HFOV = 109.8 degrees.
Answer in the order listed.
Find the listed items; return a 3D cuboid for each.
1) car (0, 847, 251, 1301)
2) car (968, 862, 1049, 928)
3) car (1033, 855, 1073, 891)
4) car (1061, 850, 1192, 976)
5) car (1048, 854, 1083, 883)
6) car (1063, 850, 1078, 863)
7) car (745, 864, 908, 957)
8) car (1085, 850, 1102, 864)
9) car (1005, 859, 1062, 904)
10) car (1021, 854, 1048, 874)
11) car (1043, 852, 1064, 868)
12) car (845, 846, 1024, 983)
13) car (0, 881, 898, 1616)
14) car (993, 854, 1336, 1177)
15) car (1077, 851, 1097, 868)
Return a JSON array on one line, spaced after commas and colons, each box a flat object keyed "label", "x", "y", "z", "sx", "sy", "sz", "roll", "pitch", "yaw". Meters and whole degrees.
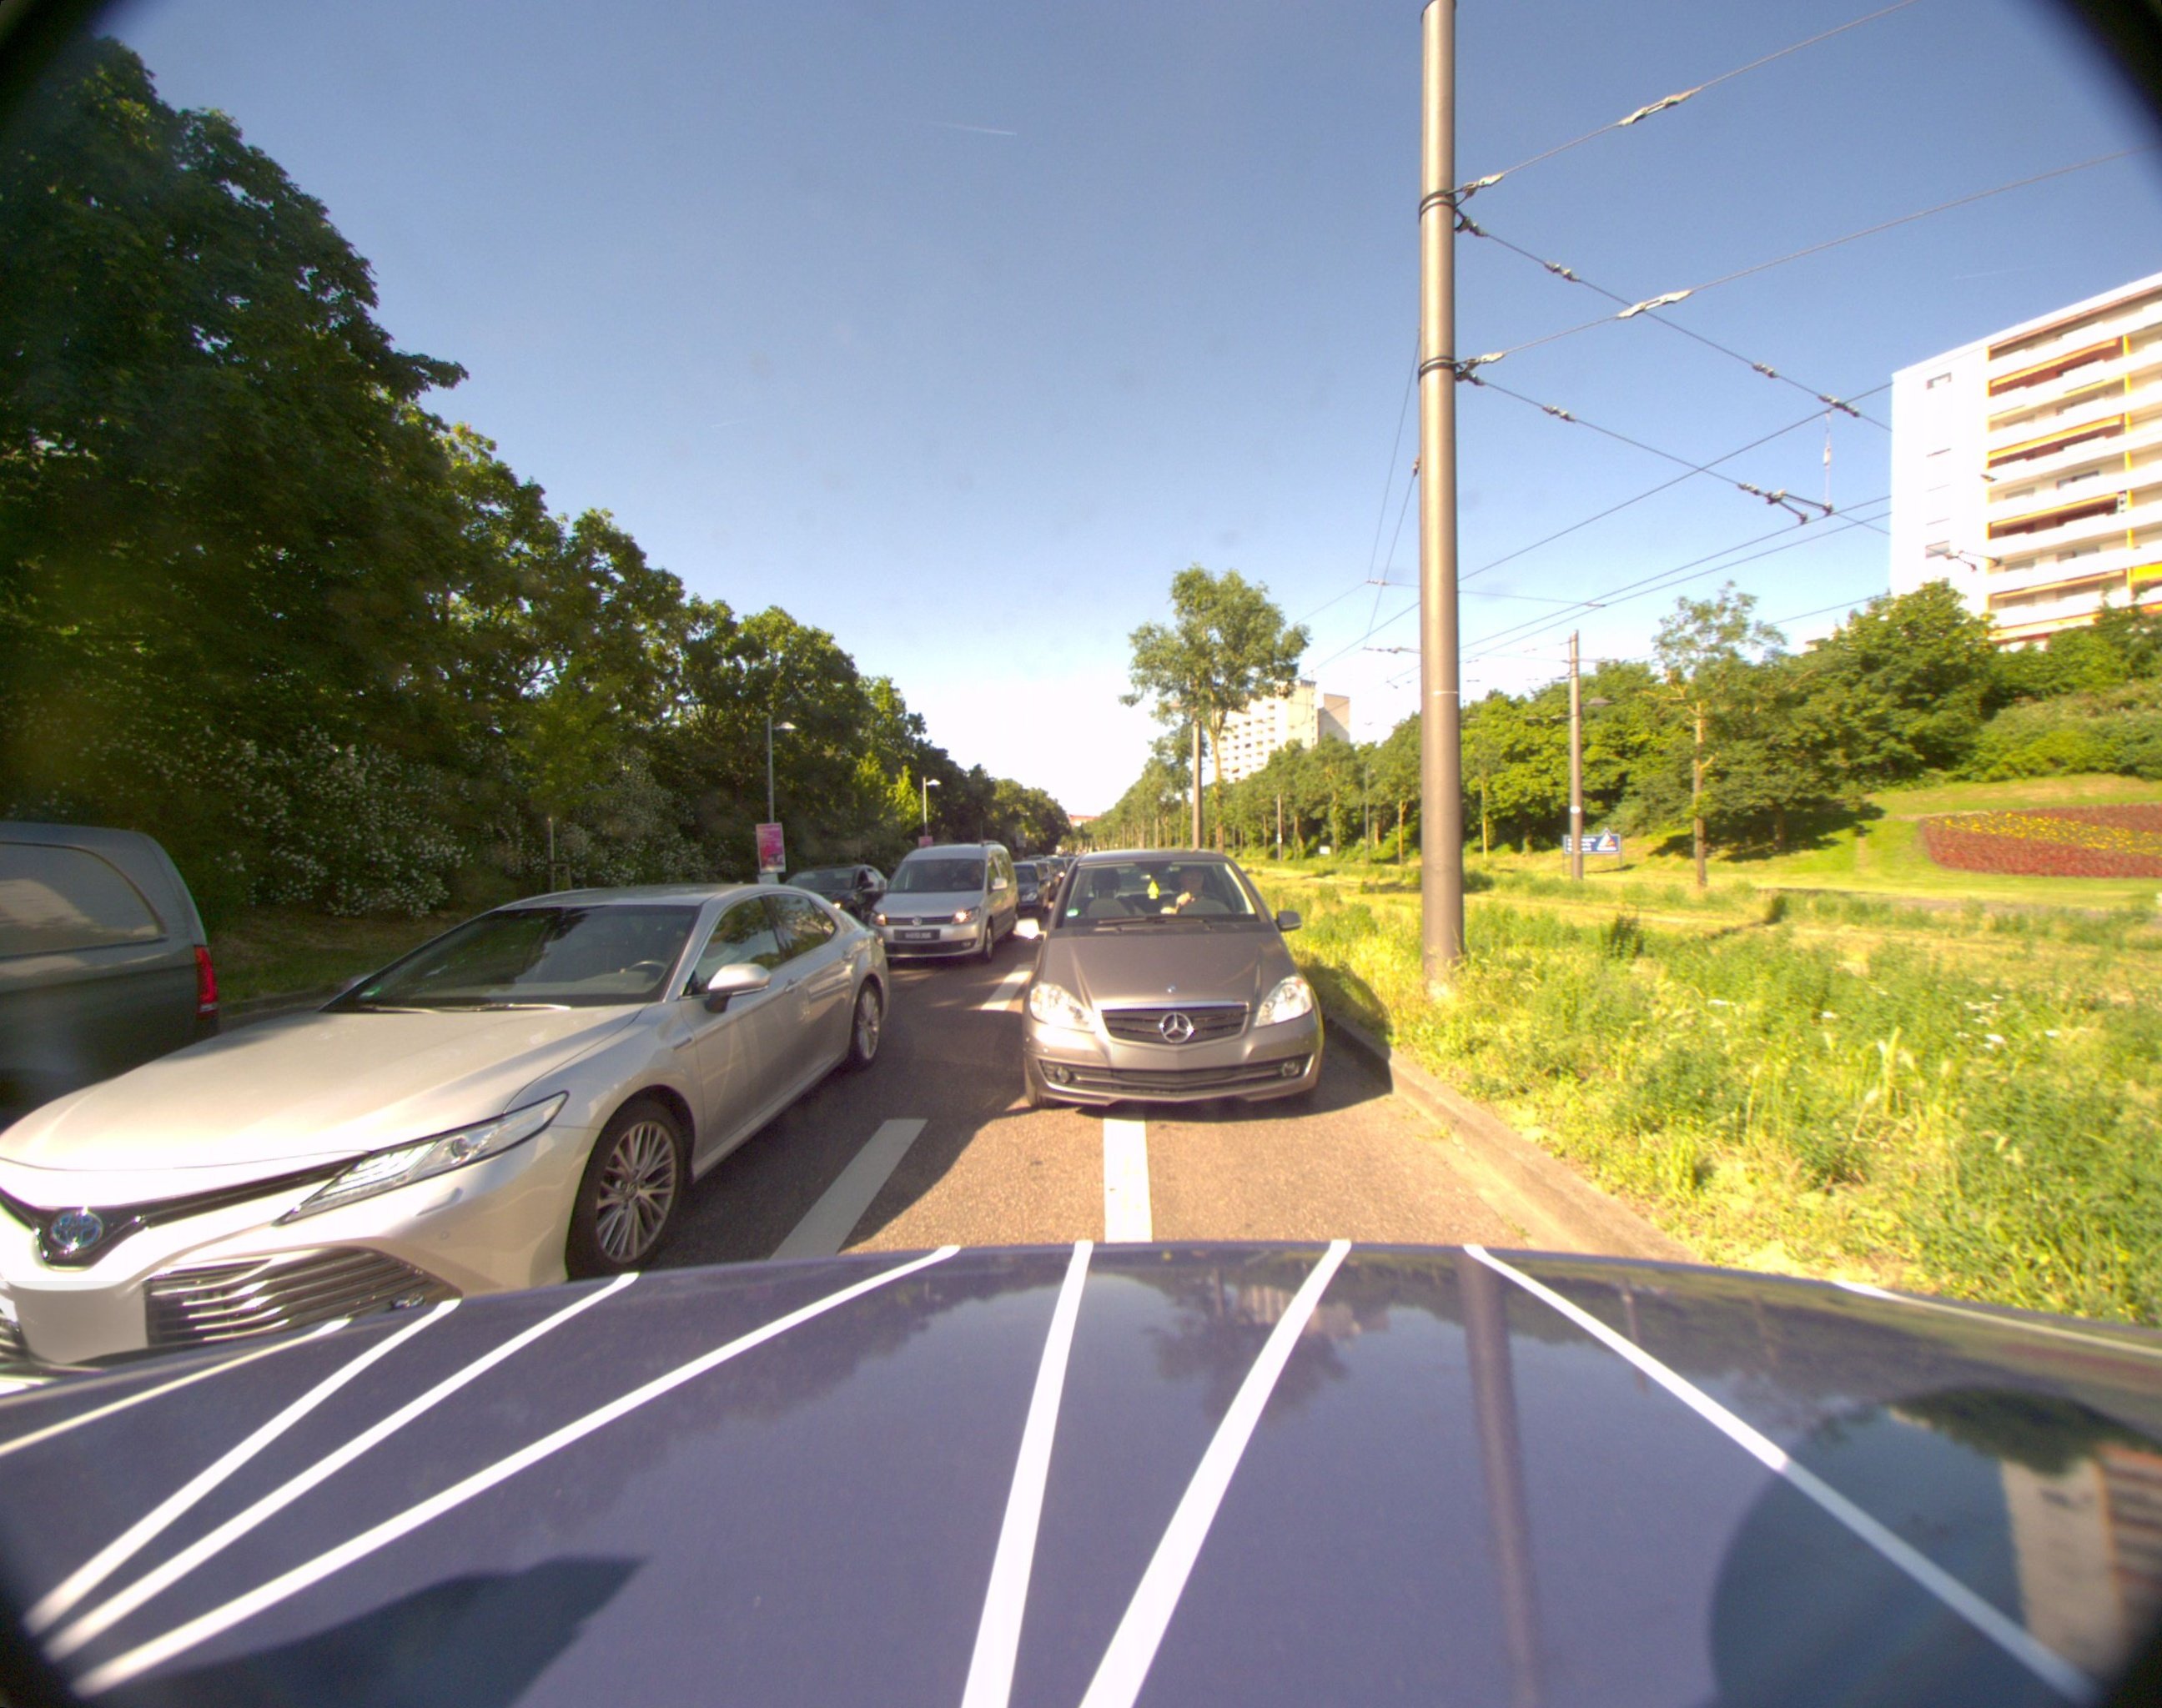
[{"label": "car", "x": -5.375, "y": 0.908, "z": 1.454, "sx": 1.808, "sy": 1.841, "sz": 5.103, "roll": 0, "pitch": 0, "yaw": 3}, {"label": "car", "x": -1.753, "y": 0.973, "z": 19.563, "sx": 1.717, "sy": 1.445, "sz": 4.197, "roll": -1, "pitch": 0, "yaw": -1}, {"label": "car", "x": -1.252, "y": 0.852, "z": 35.209, "sx": 1.621, "sy": 1.485, "sz": 3.452, "roll": -2, "pitch": 1, "yaw": 0}, {"label": "car", "x": 0.656, "y": 0.799, "z": 12.457, "sx": 1.749, "sy": 1.652, "sz": 3.999, "roll": -2, "pitch": 1, "yaw": 1}, {"label": "car", "x": -0.794, "y": 0.770, "z": 41.450, "sx": 1.713, "sy": 1.430, "sz": 4.171, "roll": -2, "pitch": 0, "yaw": 1}, {"label": "car", "x": -1.344, "y": 0.298, "z": 99.414, "sx": 1.844, "sy": 1.679, "sz": 3.999, "roll": -2, "pitch": 1, "yaw": 1}, {"label": "car", "x": -5.012, "y": 1.038, "z": 15.649, "sx": 1.772, "sy": 1.499, "sz": 4.225, "roll": -2, "pitch": 1, "yaw": 2}, {"label": "car", "x": 1.385, "y": 0.283, "z": 83.383, "sx": 1.685, "sy": 1.437, "sz": 3.727, "roll": -2, "pitch": 1, "yaw": 2}, {"label": "car", "x": -1.639, "y": 0.945, "z": 27.353, "sx": 1.723, "sy": 1.411, "sz": 4.050, "roll": -1, "pitch": 0, "yaw": 1}, {"label": "car", "x": -3.451, "y": 0.712, "z": 57.307, "sx": 1.713, "sy": 1.430, "sz": 4.171, "roll": -1, "pitch": 0, "yaw": 1}, {"label": "car", "x": -2.729, "y": 0.573, "z": 75.946, "sx": 1.749, "sy": 1.427, "sz": 4.386, "roll": -2, "pitch": 1, "yaw": 2}, {"label": "car", "x": -2.160, "y": 0.808, "z": 12.626, "sx": 1.808, "sy": 1.811, "sz": 4.587, "roll": -2, "pitch": 1, "yaw": 3}, {"label": "car", "x": -2.548, "y": 1.011, "z": 4.083, "sx": 1.809, "sy": 1.484, "sz": 4.682, "roll": -2, "pitch": 0, "yaw": 2}, {"label": "car", "x": 0.470, "y": 0.861, "z": 6.015, "sx": 1.749, "sy": 1.630, "sz": 4.000, "roll": -2, "pitch": 0, "yaw": 1}, {"label": "car", "x": 0.568, "y": 0.459, "z": 70.318, "sx": 1.685, "sy": 1.437, "sz": 3.727, "roll": -2, "pitch": 1, "yaw": 2}]
